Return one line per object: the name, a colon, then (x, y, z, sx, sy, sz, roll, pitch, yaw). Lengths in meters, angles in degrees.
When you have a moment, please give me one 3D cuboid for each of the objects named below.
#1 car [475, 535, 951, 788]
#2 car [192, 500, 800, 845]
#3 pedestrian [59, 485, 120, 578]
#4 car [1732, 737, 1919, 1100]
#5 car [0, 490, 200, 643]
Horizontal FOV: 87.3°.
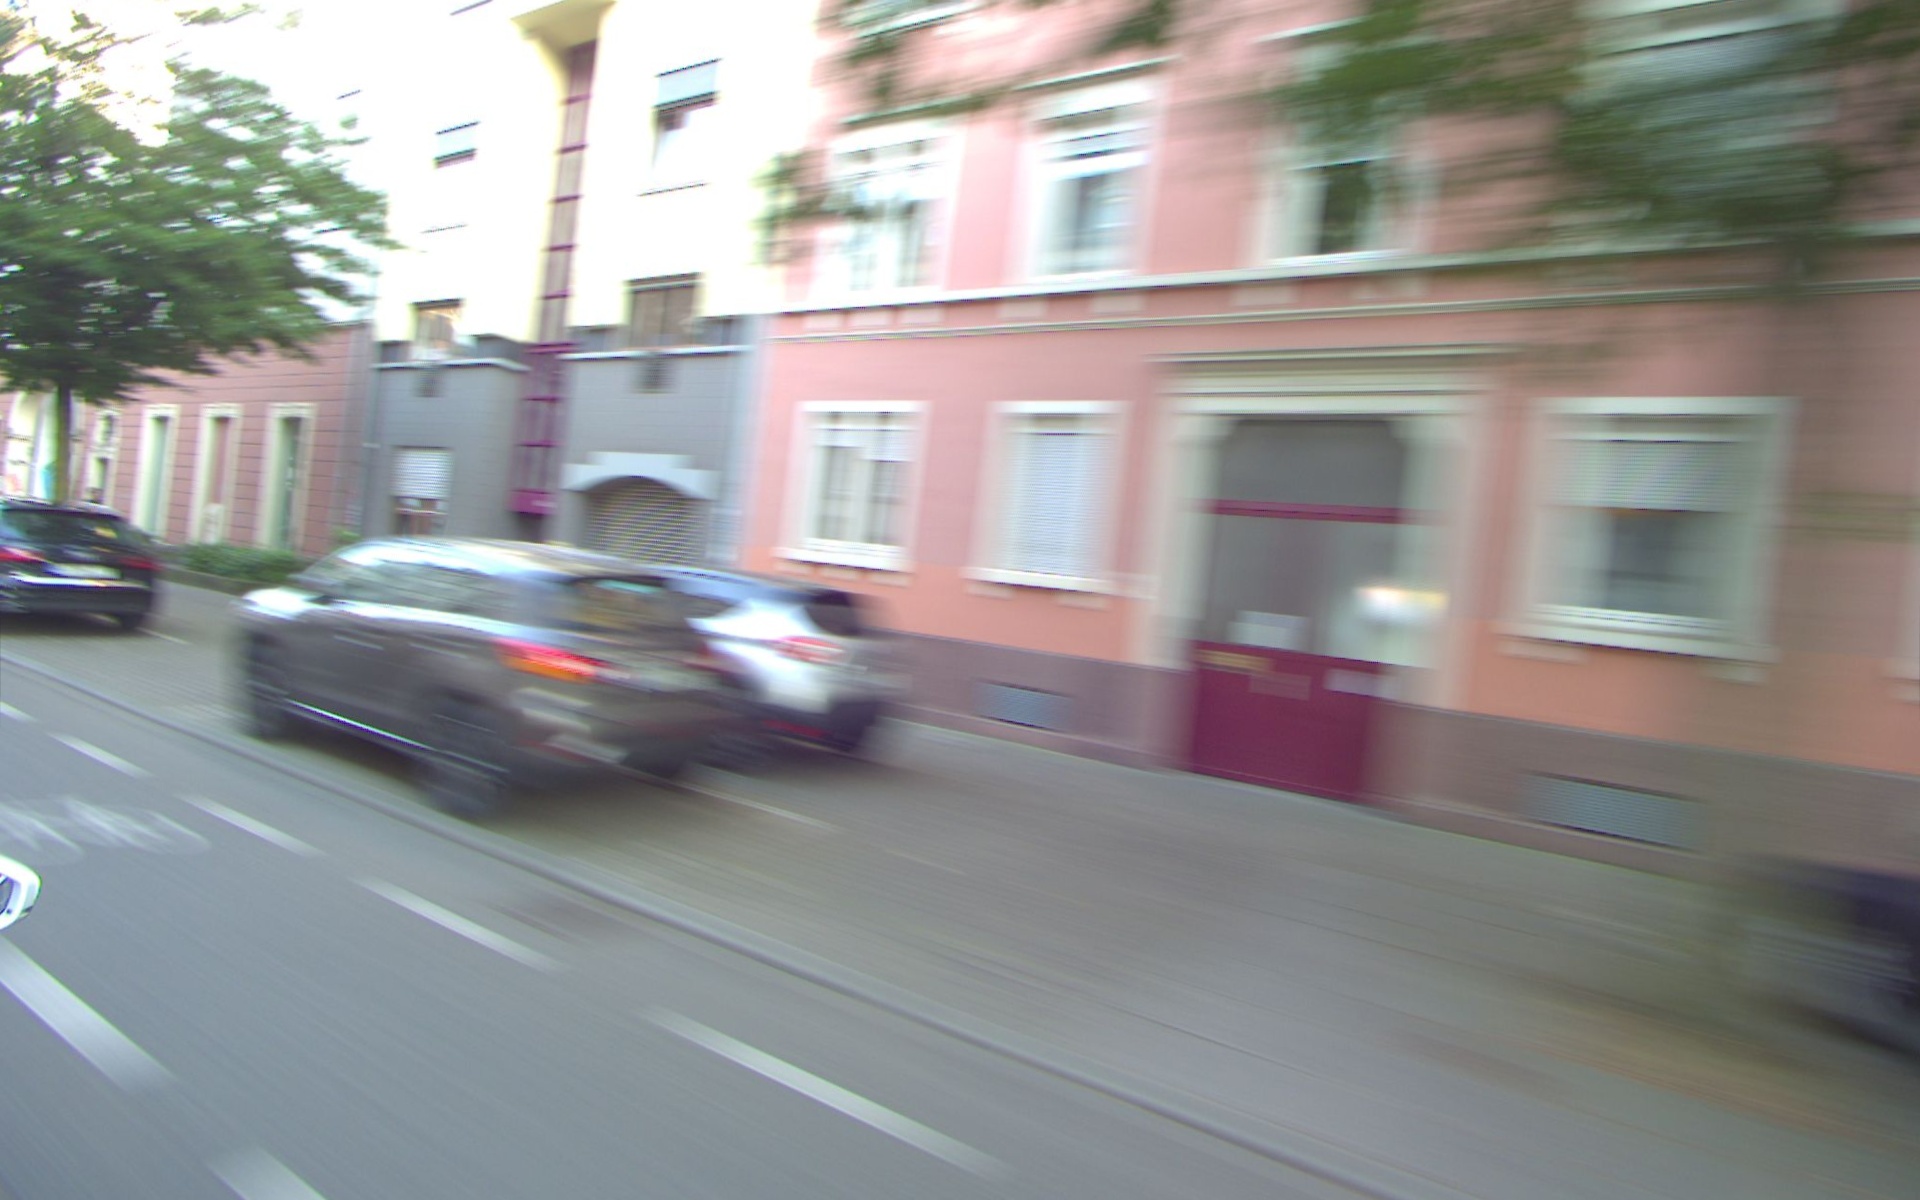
car: (-2.329, 0.460, 9.251, 3.953, 1.603, 1.882, 7, 0, 31)
car: (-3.438, 0.320, 7.244, 4.191, 1.639, 1.880, 7, 2, 31)
pedestrian: (-18.313, -1.436, 21.174, 0.590, 1.838, 0.681, 7, 0, 32)
car: (4.781, 1.464, 3.180, 1.590, 1.404, 4.266, 7, -1, 6)
car: (-11.512, -0.554, 12.186, 4.953, 1.507, 1.995, 7, 0, 32)
